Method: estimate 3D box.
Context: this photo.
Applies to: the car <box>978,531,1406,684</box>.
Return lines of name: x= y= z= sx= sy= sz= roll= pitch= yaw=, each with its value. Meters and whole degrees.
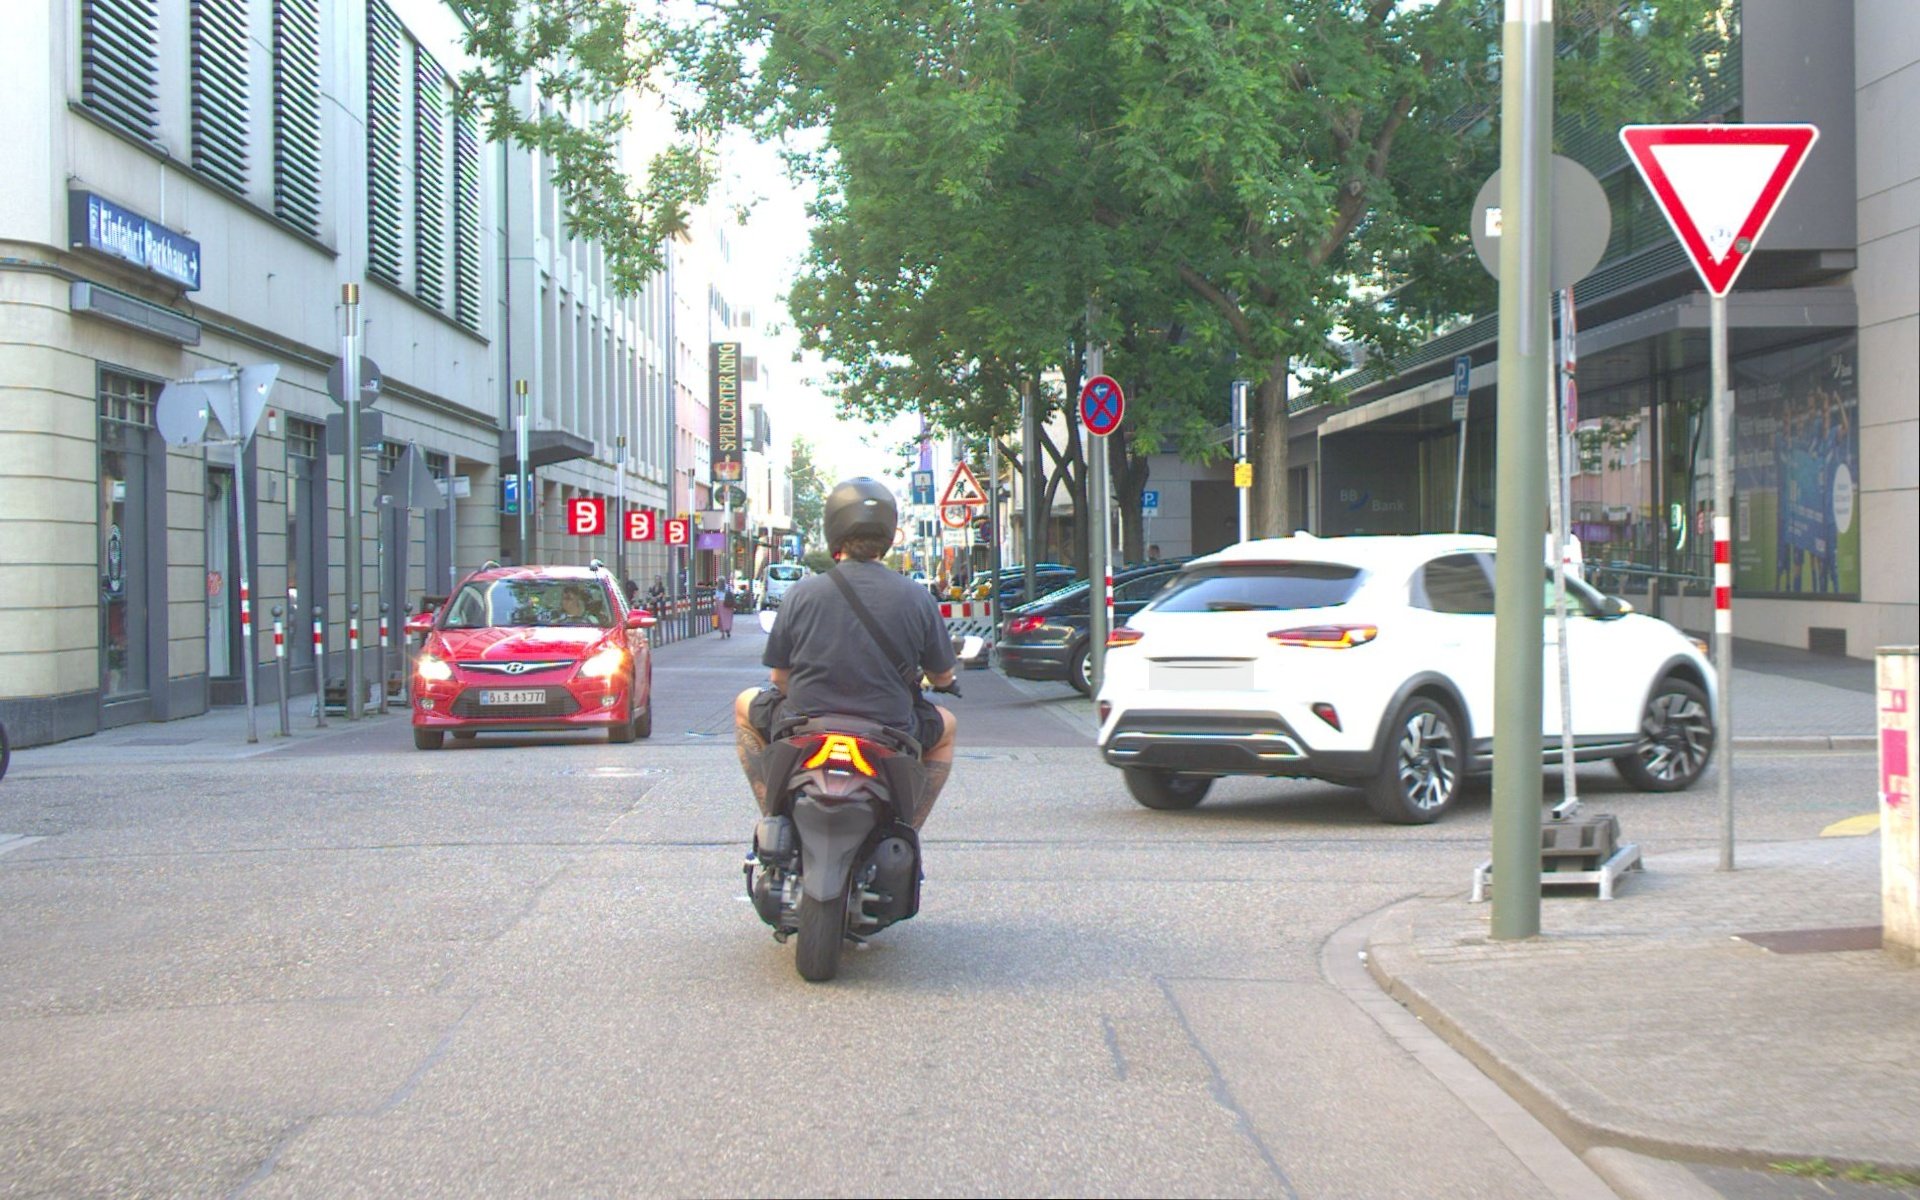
car: x=2.834 y=0.087 z=42.763 sx=5.004 sy=1.494 sz=2.000 roll=-4 pitch=0 yaw=-3

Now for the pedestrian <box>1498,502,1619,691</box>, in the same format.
pedestrian: x=5.610 y=-0.031 z=32.268 sx=0.905 sy=1.700 sz=0.834 roll=-3 pitch=0 yaw=0

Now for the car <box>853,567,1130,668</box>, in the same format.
car: x=0.553 y=0.323 z=64.735 sx=5.004 sy=1.494 sz=2.000 roll=-4 pitch=0 yaw=-3

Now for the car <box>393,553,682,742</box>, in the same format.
car: x=-3.465 y=0.410 z=28.902 sx=1.822 sy=1.460 sz=4.263 roll=0 pitch=-1 yaw=1

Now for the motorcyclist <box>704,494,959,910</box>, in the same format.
motorcyclist: x=-0.441 y=0.349 z=12.004 sx=0.867 sy=1.422 sz=0.455 roll=0 pitch=0 yaw=0

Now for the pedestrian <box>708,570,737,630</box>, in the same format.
pedestrian: x=-6.289 y=0.004 z=90.947 sx=0.732 sy=1.568 sz=0.636 roll=0 pitch=0 yaw=0

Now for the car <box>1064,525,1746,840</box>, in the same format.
car: x=2.596 y=0.366 z=19.212 sx=1.826 sy=1.536 sz=4.254 roll=0 pitch=1 yaw=39

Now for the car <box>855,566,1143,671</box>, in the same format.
car: x=0.669 y=0.324 z=62.213 sx=5.004 sy=1.494 sz=2.000 roll=-4 pitch=0 yaw=-3

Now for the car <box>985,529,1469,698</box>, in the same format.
car: x=2.880 y=0.144 z=37.830 sx=5.004 sy=1.447 sz=2.000 roll=-4 pitch=0 yaw=-3

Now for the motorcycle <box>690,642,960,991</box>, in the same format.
motorcycle: x=-0.439 y=0.715 z=12.089 sx=0.872 sy=1.105 sz=1.840 roll=0 pitch=0 yaw=0

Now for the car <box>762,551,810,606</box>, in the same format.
car: x=-7.623 y=-0.959 z=150.284 sx=1.993 sy=2.321 sz=5.021 roll=1 pitch=1 yaw=-3

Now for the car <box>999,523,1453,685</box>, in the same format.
car: x=3.061 y=0.043 z=40.321 sx=5.004 sy=1.494 sz=2.000 roll=-4 pitch=0 yaw=-3

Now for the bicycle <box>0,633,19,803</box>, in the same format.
bicycle: x=-6.402 y=0.679 z=19.862 sx=1.814 sy=0.970 sz=0.511 roll=0 pitch=0 yaw=-9
